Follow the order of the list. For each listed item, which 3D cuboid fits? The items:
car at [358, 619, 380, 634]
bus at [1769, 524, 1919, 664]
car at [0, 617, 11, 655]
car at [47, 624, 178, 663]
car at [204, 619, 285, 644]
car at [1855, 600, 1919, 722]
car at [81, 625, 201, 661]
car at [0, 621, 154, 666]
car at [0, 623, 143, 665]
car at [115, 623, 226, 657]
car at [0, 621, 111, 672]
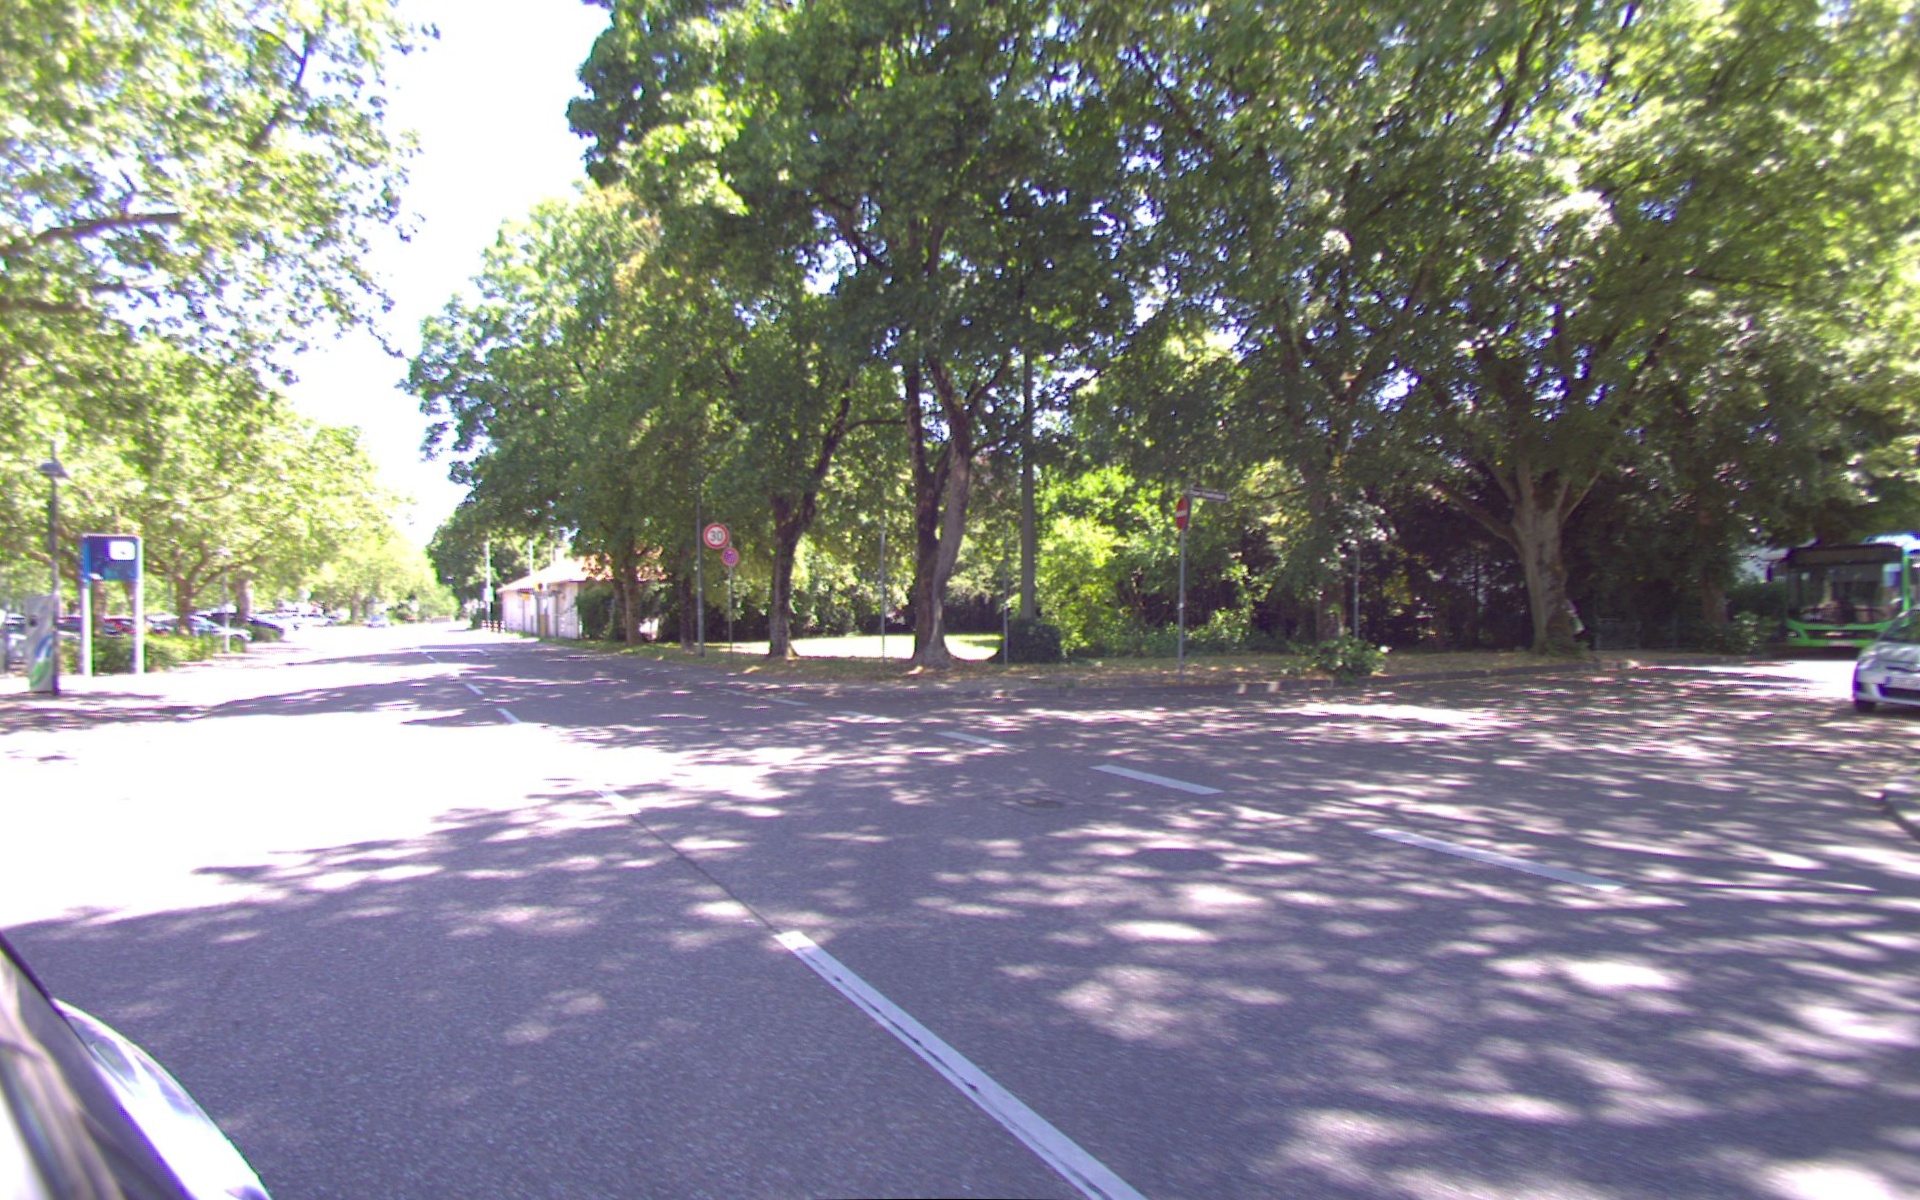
[{"bbox_3d":[-60.148,2.653,103.024,1.633,1.386,3.462,-4,1,-26],"label":"car"},{"bbox_3d":[28.629,-0.144,29.089,15.678,3.320,2.886,0,-1,-30],"label":"bus"},{"bbox_3d":[-50.205,1.874,51.769,3.993,1.908,1.717,-1,-1,37],"label":"car"},{"bbox_3d":[-34.871,1.765,41.725,1.631,1.471,3.835,-1,-1,31],"label":"car"},{"bbox_3d":[-43.522,1.900,61.611,3.818,1.471,1.638,0,-1,-44],"label":"car"},{"bbox_3d":[13.588,0.766,13.404,3.426,1.508,1.605,0,1,-30],"label":"car"},{"bbox_3d":[-36.297,1.864,44.922,1.631,1.471,3.835,-1,-1,31],"label":"car"},{"bbox_3d":[-30.832,1.486,35.220,1.871,1.416,3.986,-1,-1,30],"label":"car"},{"bbox_3d":[-33.604,1.627,38.355,1.631,1.471,3.835,-1,-1,31],"label":"car"},{"bbox_3d":[-37.273,1.876,47.870,1.631,1.471,3.835,-1,-1,31],"label":"car"},{"bbox_3d":[-27.846,1.354,29.366,1.785,1.427,4.714,-1,-1,40],"label":"car"}]
